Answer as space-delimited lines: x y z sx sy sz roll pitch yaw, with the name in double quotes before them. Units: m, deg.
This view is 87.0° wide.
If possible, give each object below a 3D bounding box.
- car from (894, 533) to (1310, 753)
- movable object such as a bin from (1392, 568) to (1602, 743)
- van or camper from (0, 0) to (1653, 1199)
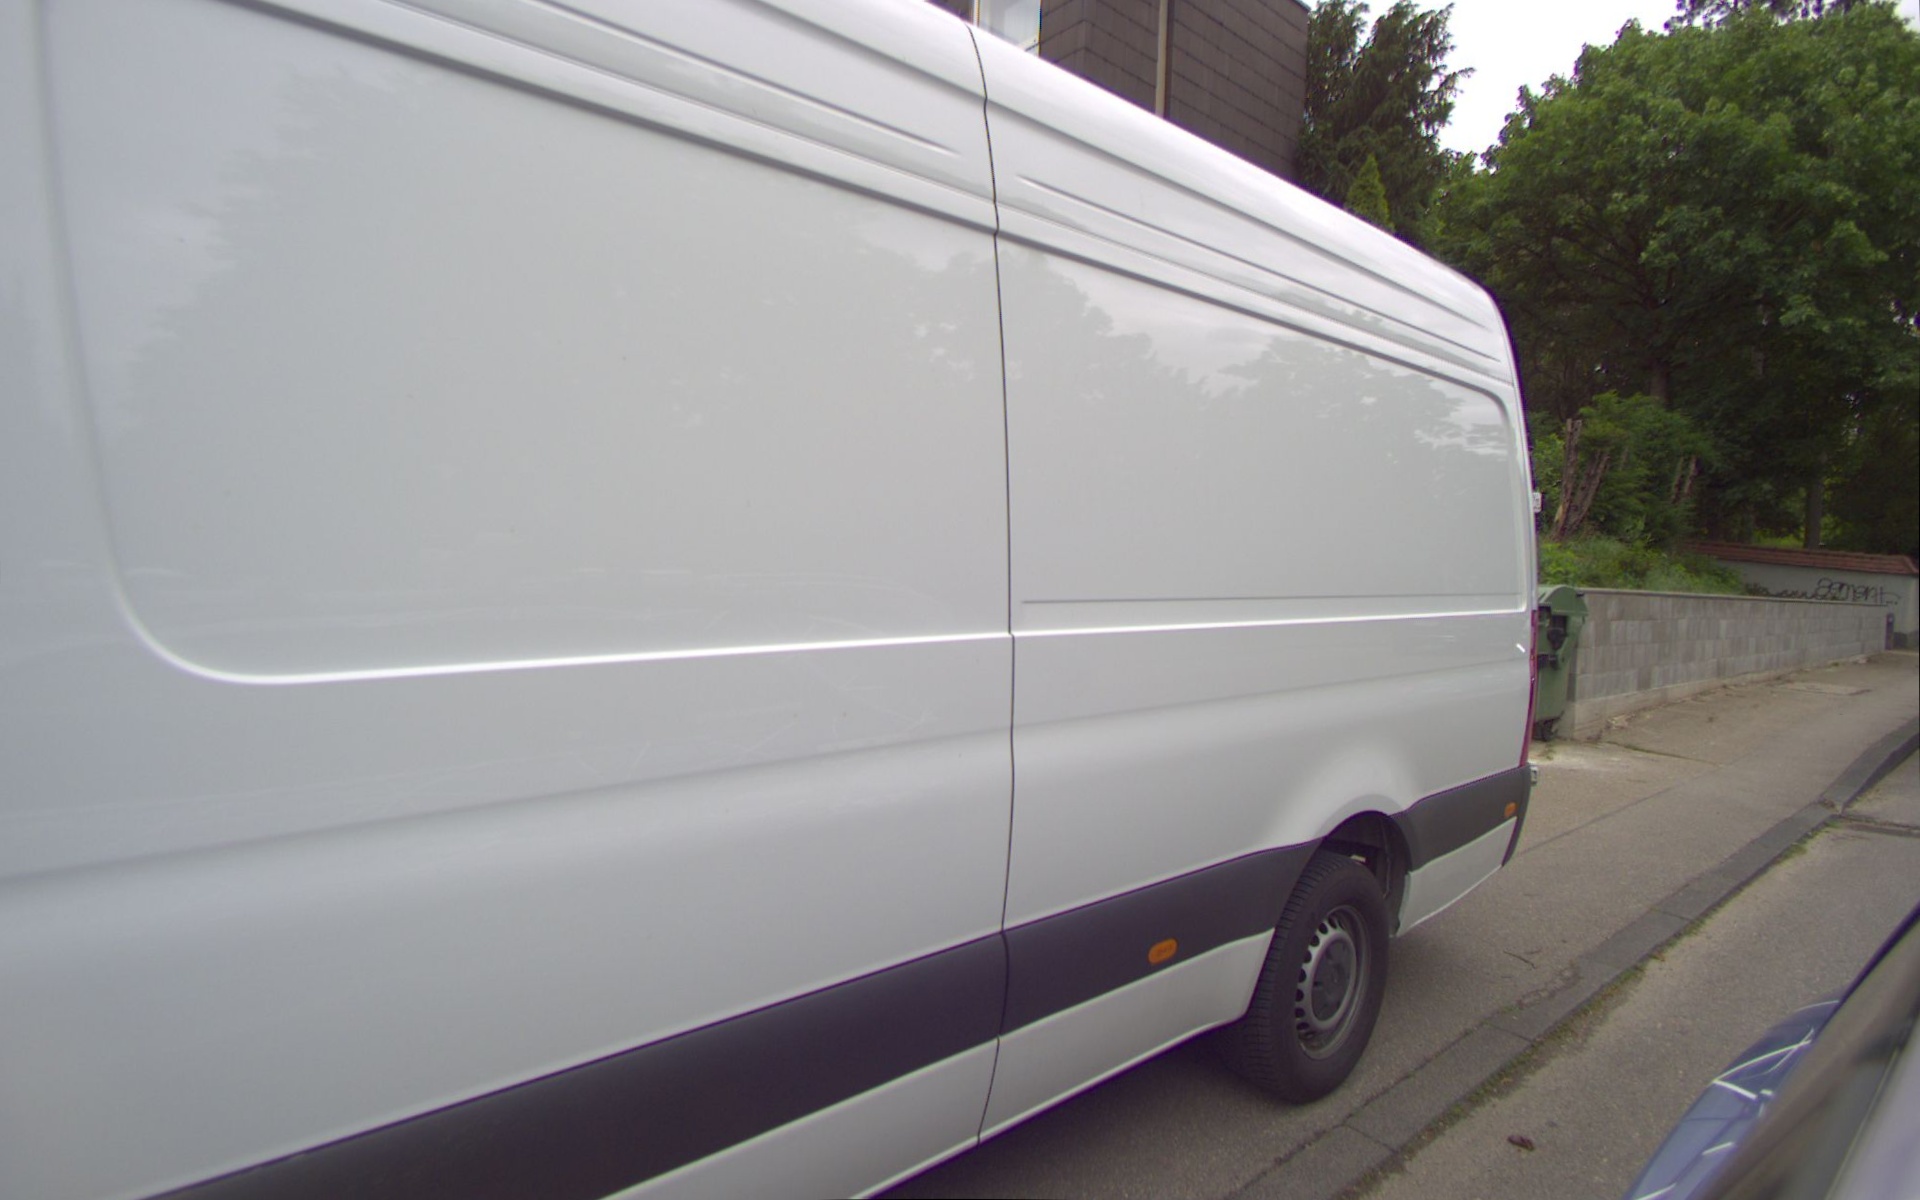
"car" 1.151 0.225 9.777 1.712 1.671 3.914 0 3 -36
"movable object such as a bin" 5.017 0.450 9.489 1.096 1.469 1.407 0 2 -40
"van or camper" -0.701 0.000 2.288 6.430 2.656 1.996 -1 5 -41
